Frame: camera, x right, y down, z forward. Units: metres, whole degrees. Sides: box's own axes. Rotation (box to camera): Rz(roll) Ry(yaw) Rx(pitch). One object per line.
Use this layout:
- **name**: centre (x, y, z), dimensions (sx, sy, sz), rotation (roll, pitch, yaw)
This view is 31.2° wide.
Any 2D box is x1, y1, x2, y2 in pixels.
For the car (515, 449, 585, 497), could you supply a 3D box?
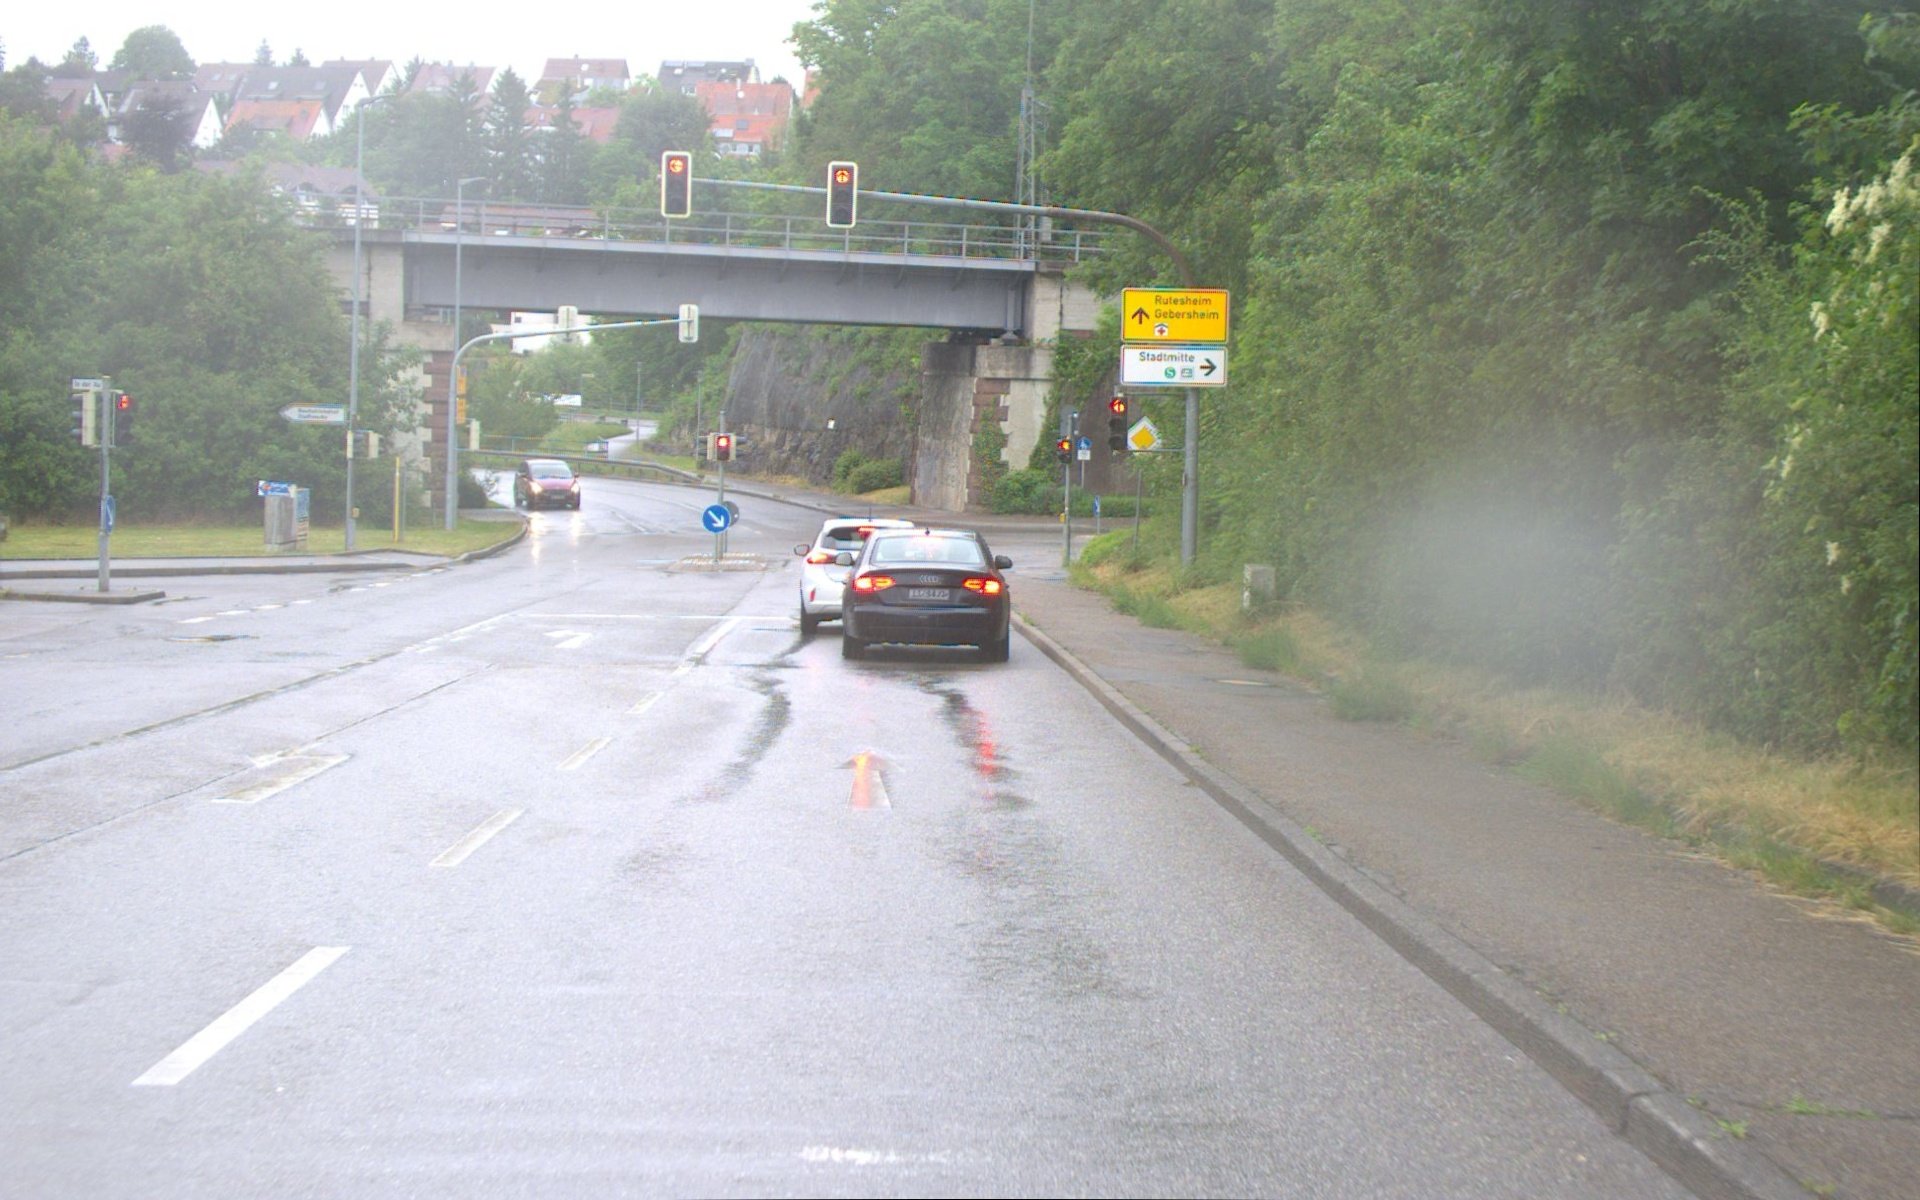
- **car**: centre (-14.623, -4.506, 122.451), dimensions (1.993, 1.623, 4.001), rotation (0, 1, -14)

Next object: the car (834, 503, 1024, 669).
- **car**: centre (-0.341, -0.193, 37.180), dimensions (1.870, 1.611, 4.000), rotation (3, 1, -1)

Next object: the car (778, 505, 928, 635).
- **car**: centre (-1.363, -0.391, 44.223), dimensions (1.823, 1.579, 4.000), rotation (1, 1, -1)
